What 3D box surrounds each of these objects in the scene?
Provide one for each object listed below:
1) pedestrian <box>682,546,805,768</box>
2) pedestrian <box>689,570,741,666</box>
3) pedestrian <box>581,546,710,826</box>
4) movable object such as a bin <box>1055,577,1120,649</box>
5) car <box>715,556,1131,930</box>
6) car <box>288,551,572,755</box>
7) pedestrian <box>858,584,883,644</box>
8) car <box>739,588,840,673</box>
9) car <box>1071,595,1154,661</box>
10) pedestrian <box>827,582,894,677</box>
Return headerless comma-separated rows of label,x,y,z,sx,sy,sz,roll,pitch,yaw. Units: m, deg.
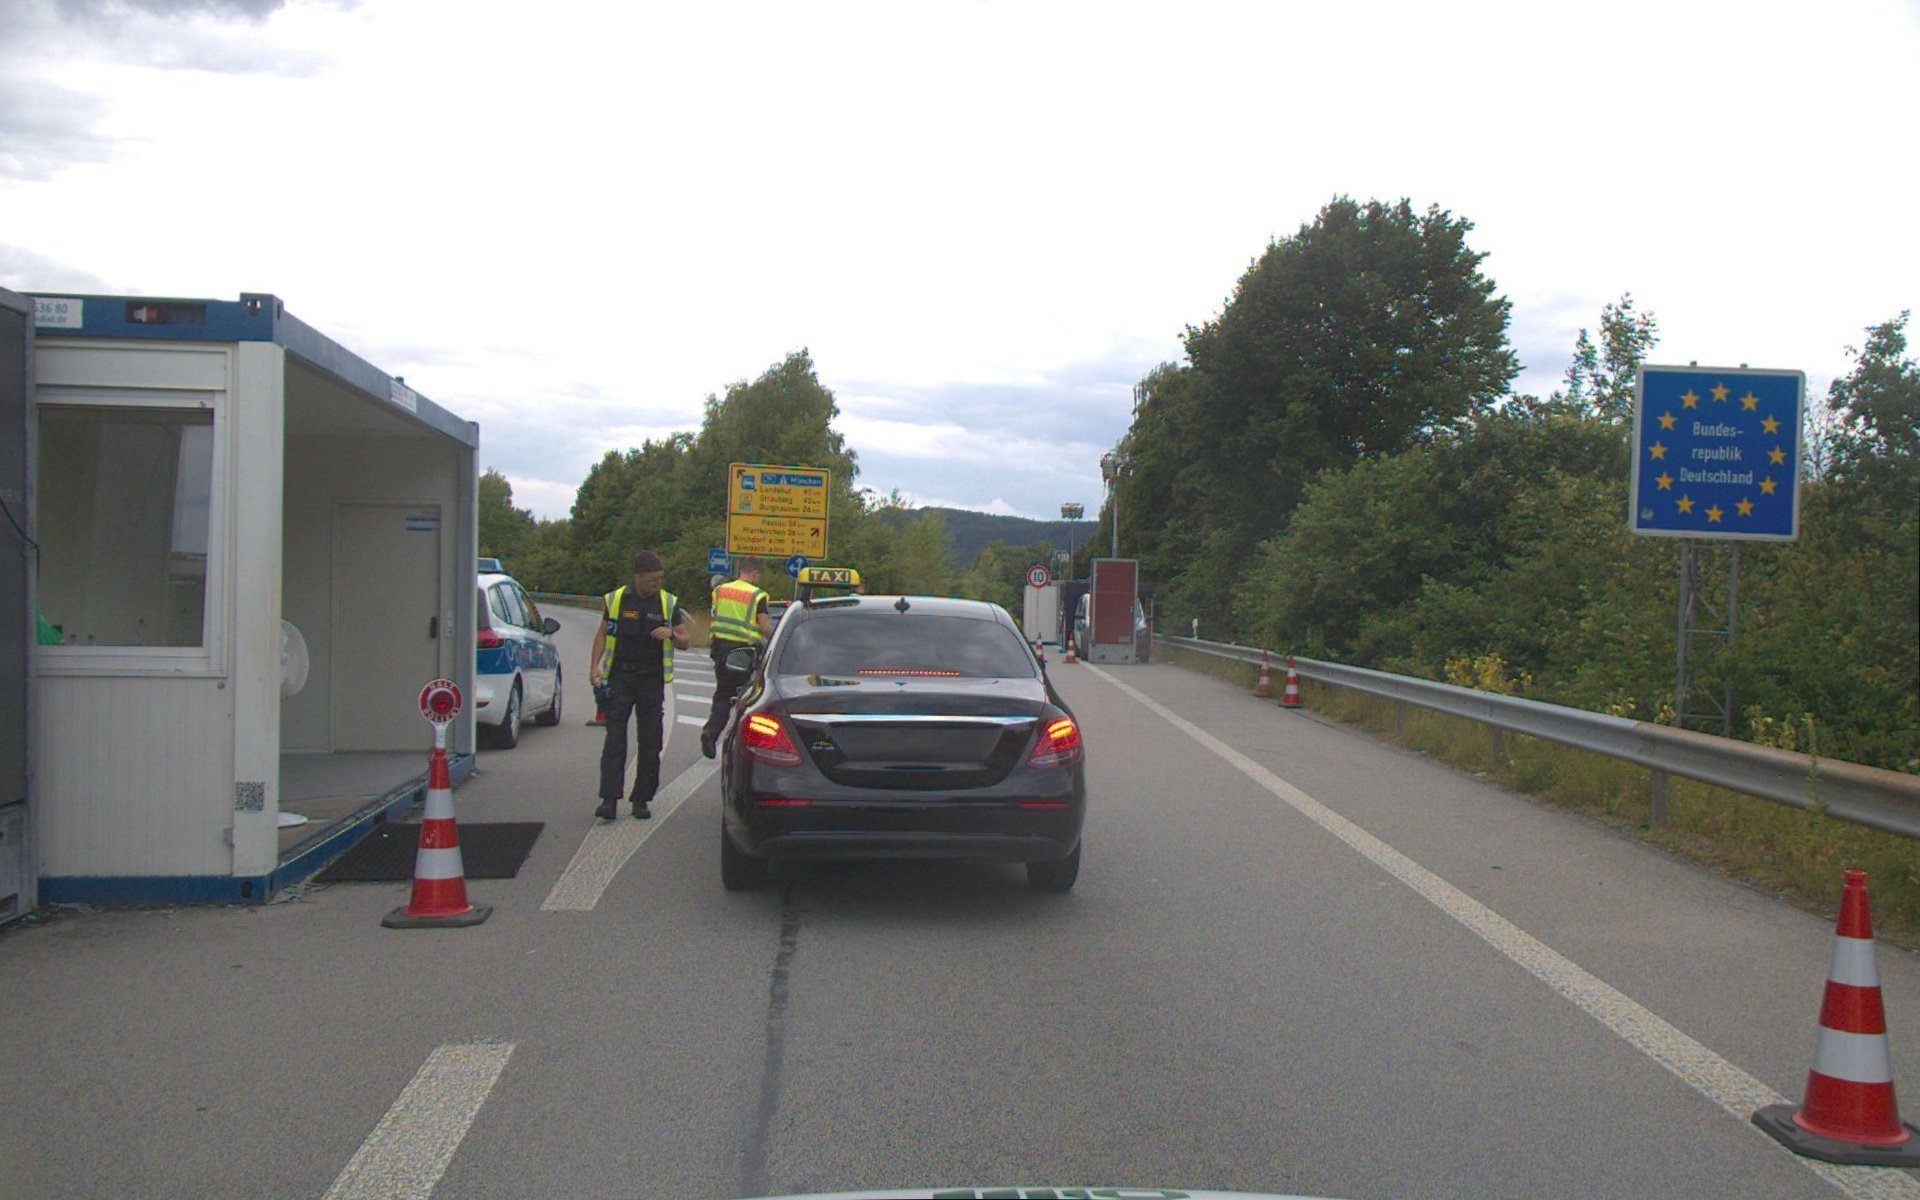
pedestrian,-1.880,0.476,14.422,0.795,1.862,0.810,0,0,15
pedestrian,-4.732,0.343,31.981,0.893,1.800,0.911,1,0,-4
pedestrian,-2.032,0.540,10.793,0.745,1.748,0.817,1,0,-6
movable object such as a bin,4.309,0.433,56.490,1.952,2.320,4.168,1,0,1
car,-0.367,0.623,9.464,1.819,1.623,4.370,1,0,-6
car,-5.126,0.463,16.563,1.832,1.774,4.004,1,0,-5
pedestrian,-3.018,0.478,55.827,0.650,1.995,0.760,0,0,15
car,-3.277,0.549,32.463,1.819,1.524,4.253,1,0,-4
car,4.339,0.757,47.647,1.877,1.707,5.083,3,0,0
pedestrian,-1.849,0.544,30.762,0.900,1.727,0.903,1,-1,-33
